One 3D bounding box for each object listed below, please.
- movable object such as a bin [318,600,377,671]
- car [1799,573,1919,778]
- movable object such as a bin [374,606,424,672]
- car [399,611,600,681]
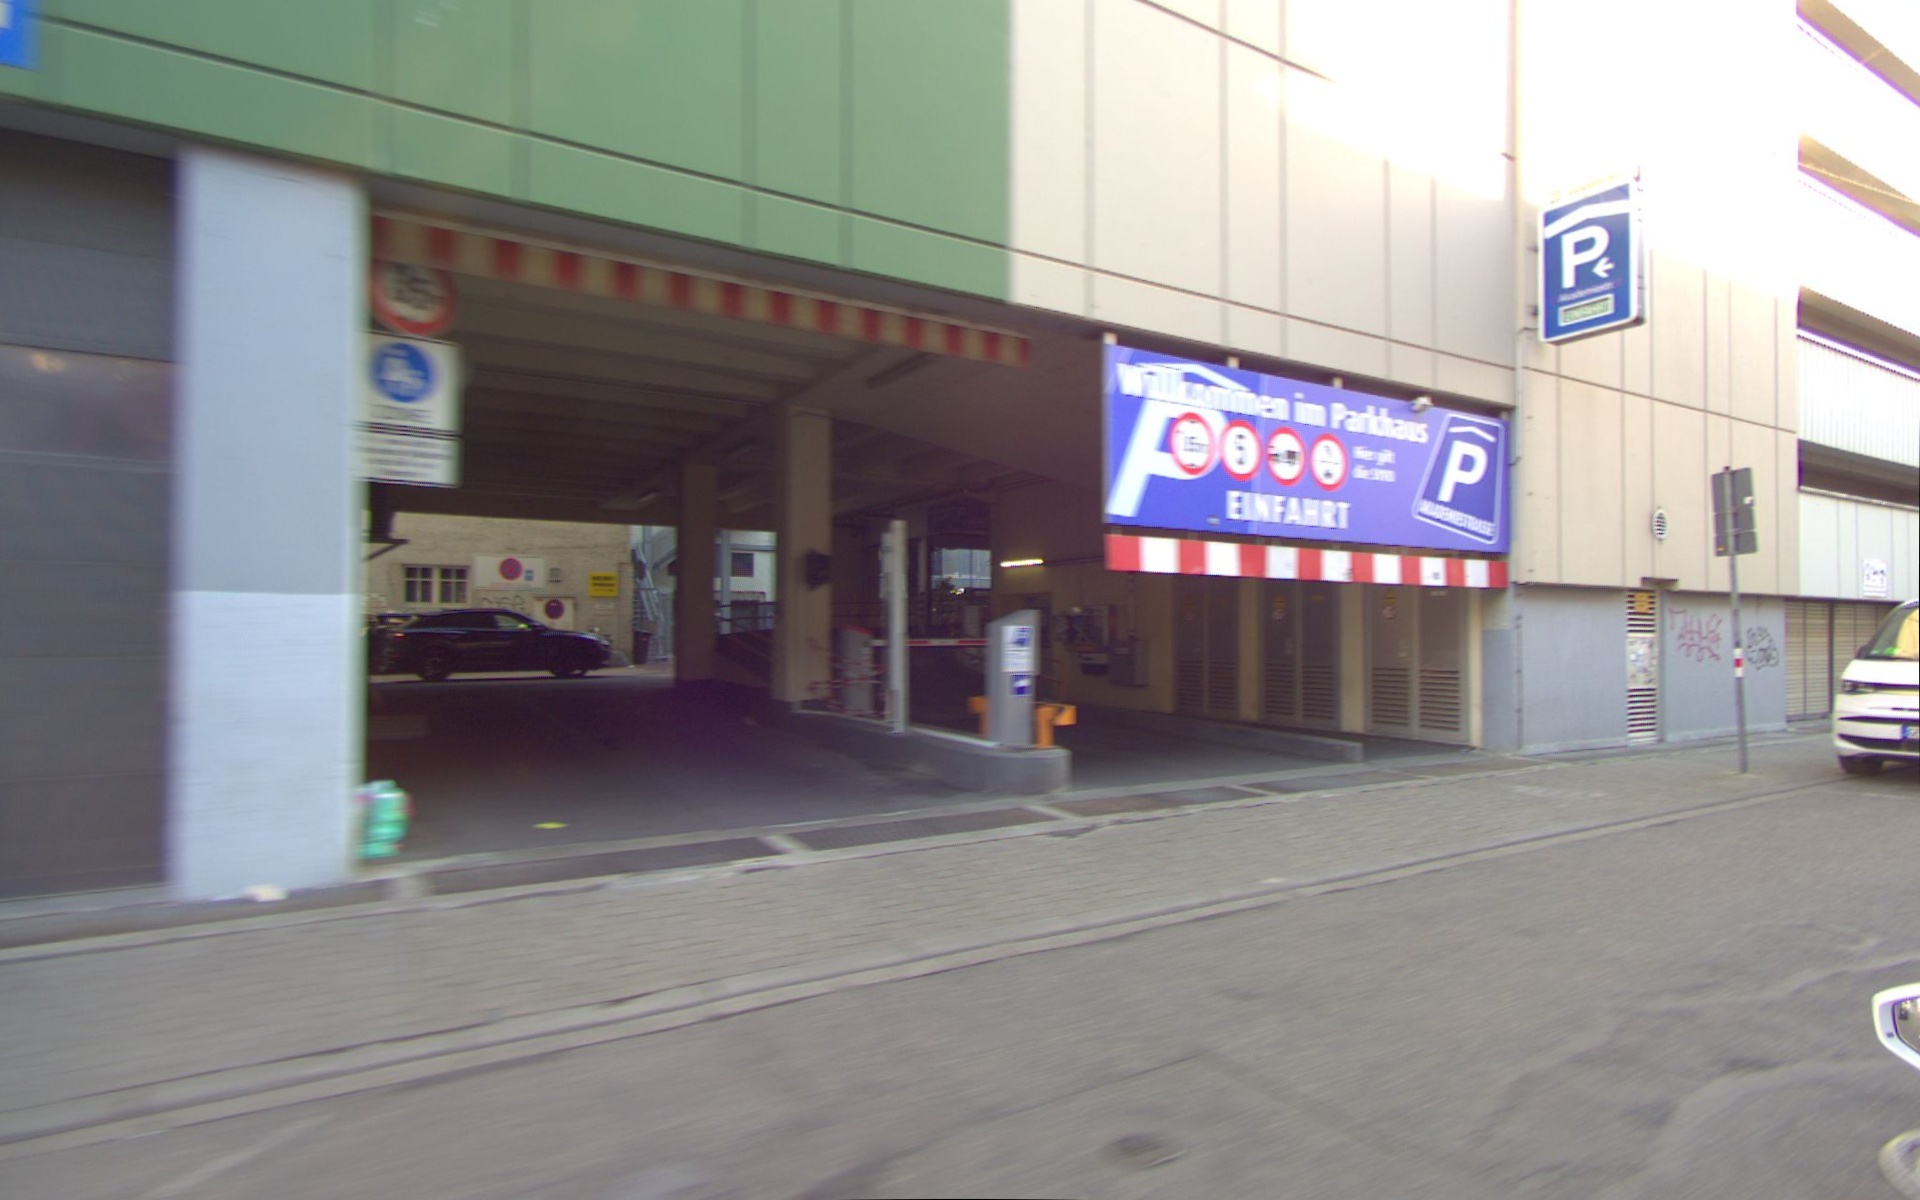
[{"bbox_3d":[-16.180,0.918,26.570,1.258,1.780,1.355,1,1,-30],"label":"movable object such as a bin"},{"bbox_3d":[11.297,0.758,10.915,4.798,1.965,1.983,1,-3,-33],"label":"car"},{"bbox_3d":[-15.159,1.026,27.157,1.148,1.737,1.290,0,0,-30],"label":"movable object such as a bin"},{"bbox_3d":[-10.857,1.074,23.766,4.158,1.489,1.618,2,0,-31],"label":"car"}]
